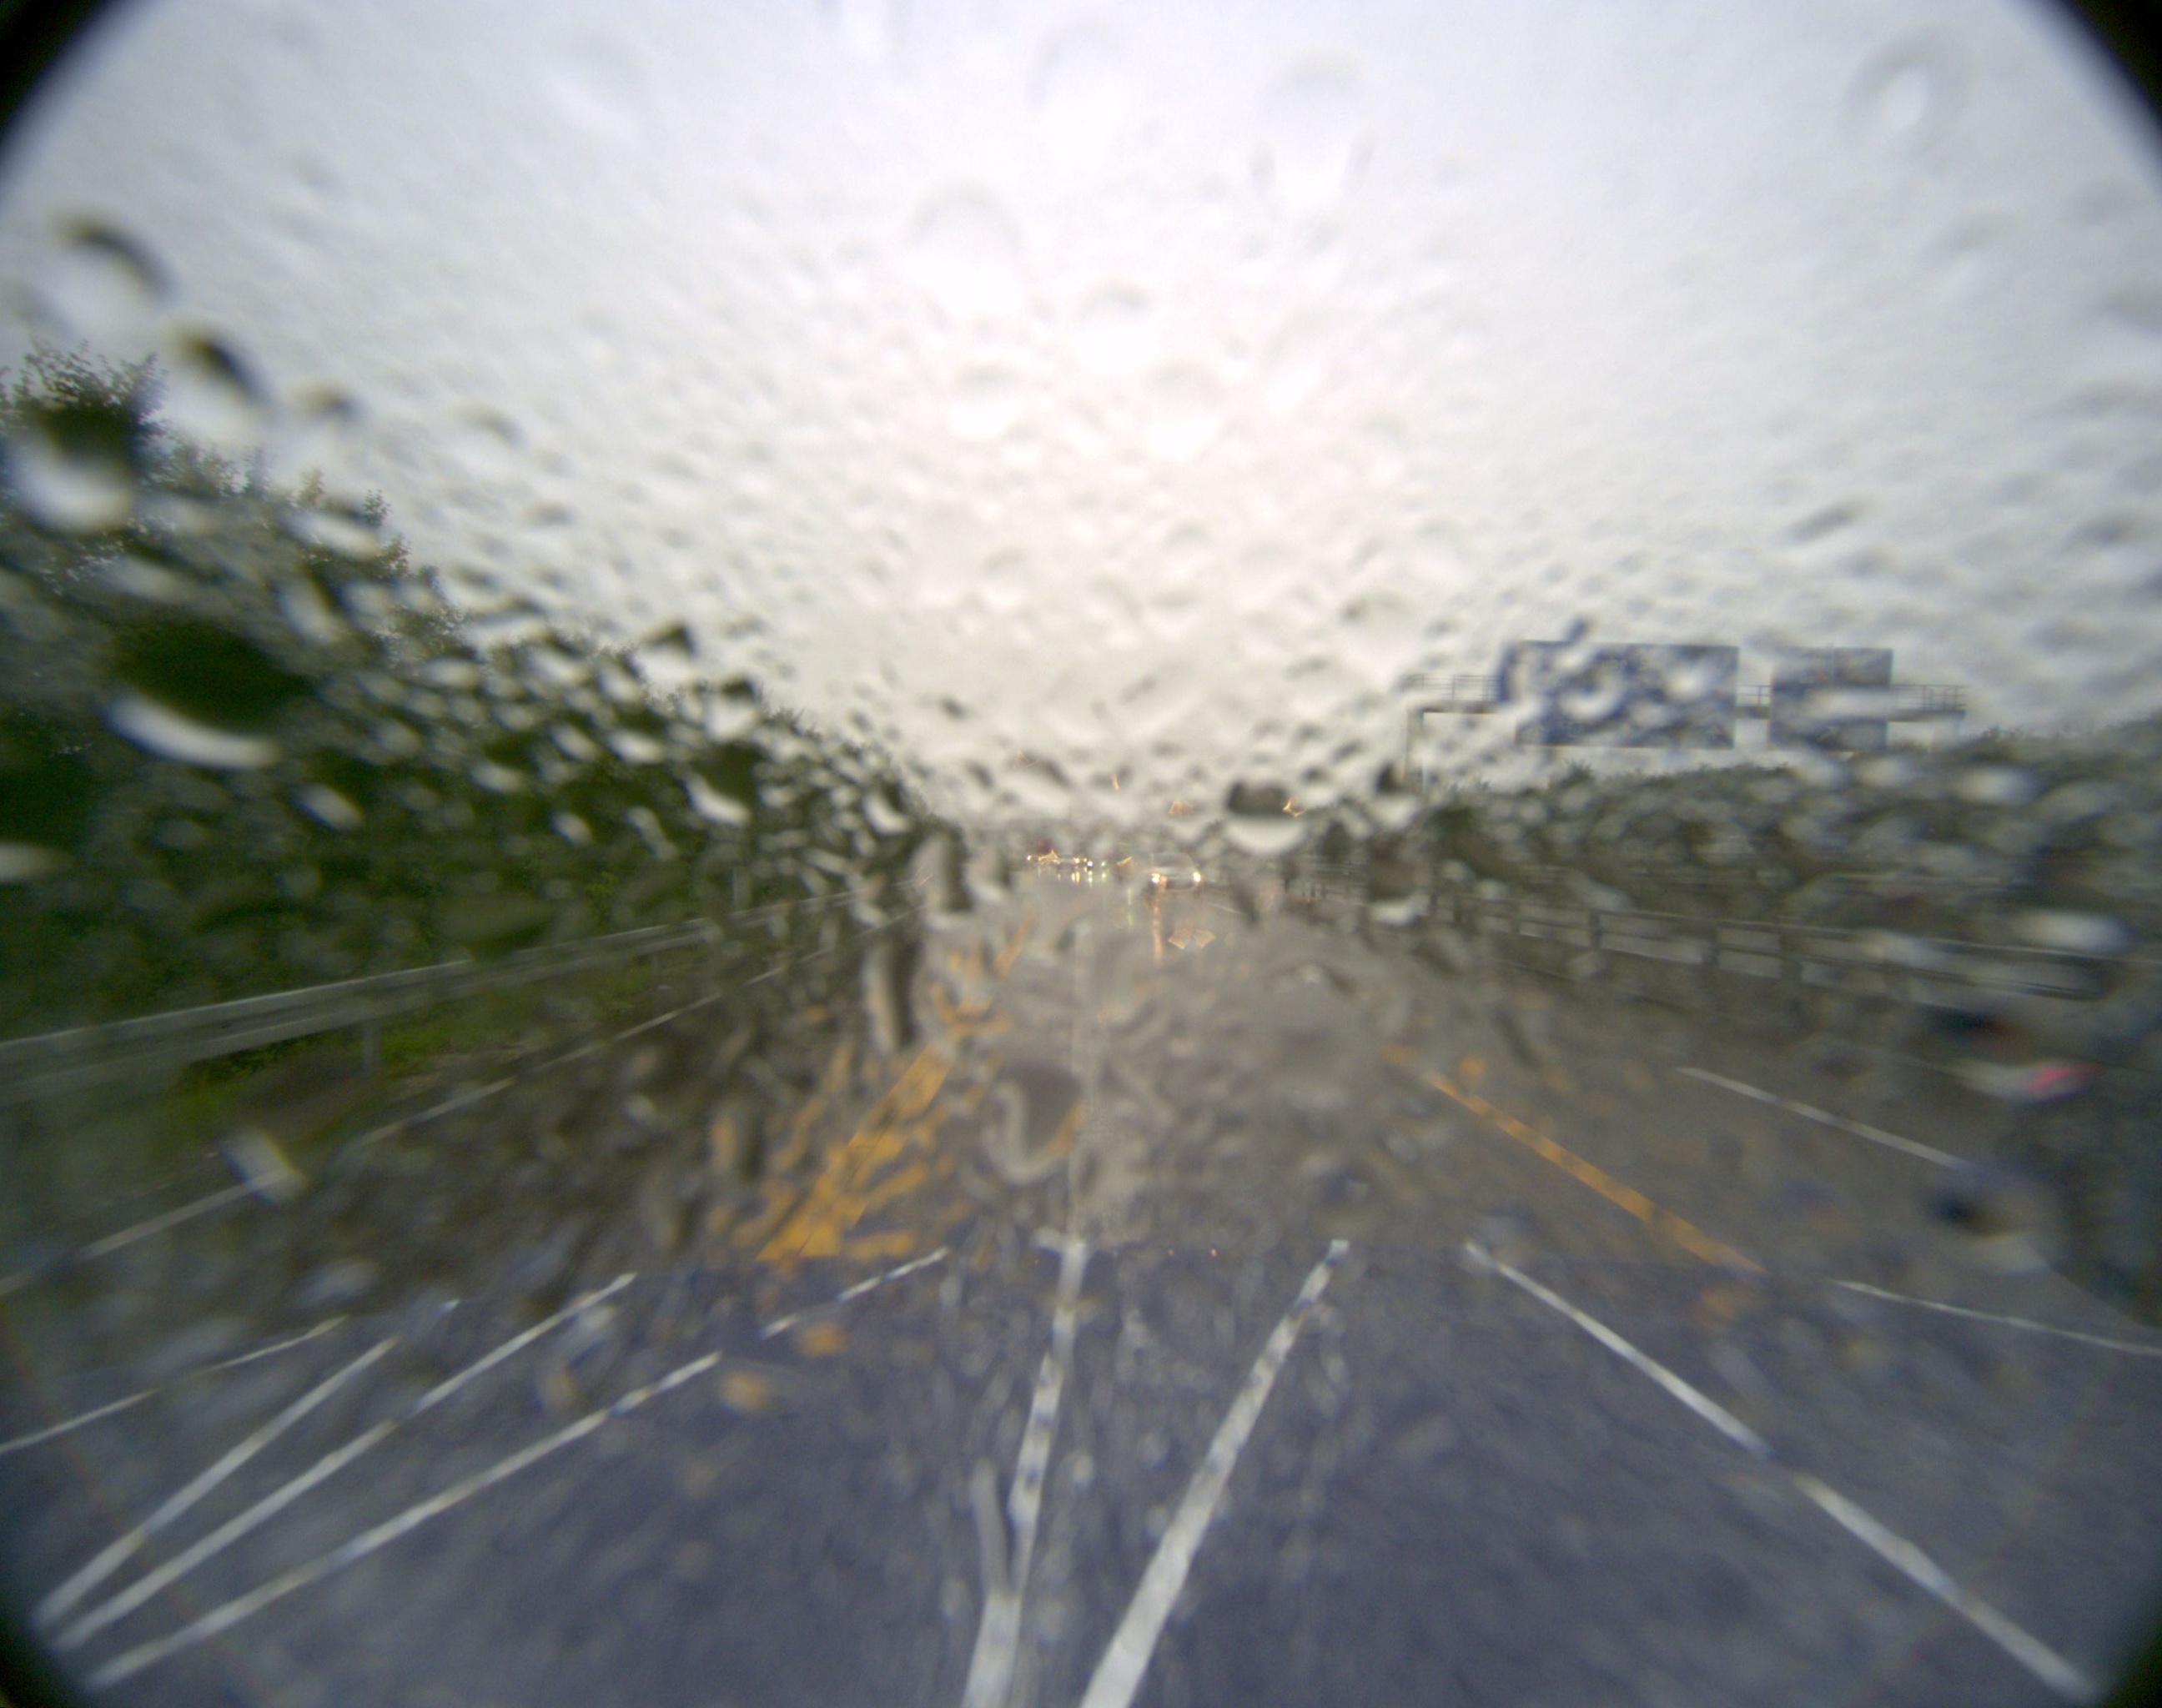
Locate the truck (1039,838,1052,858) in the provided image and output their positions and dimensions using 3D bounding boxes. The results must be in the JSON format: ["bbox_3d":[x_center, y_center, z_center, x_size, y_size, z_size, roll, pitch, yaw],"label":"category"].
[{"bbox_3d":[-7.574,-1.173,161.894,2.484,4.061,8.701,-2,1,-3],"label":"truck"}]

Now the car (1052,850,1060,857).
[{"bbox_3d":[-6.113,-0.083,187.436,1.752,1.579,3.998,-2,1,-3],"label":"car"}]

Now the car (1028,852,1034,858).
[{"bbox_3d":[-15.527,0.335,235.849,1.752,1.579,3.998,-2,1,-3],"label":"car"}]

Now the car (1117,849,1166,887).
[{"bbox_3d":[3.452,0.757,44.402,2.212,2.002,5.562,-2,1,-2],"label":"car"}]

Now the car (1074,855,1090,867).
[{"bbox_3d":[0.119,0.991,110.432,1.846,1.586,3.998,-2,1,-6],"label":"car"}]

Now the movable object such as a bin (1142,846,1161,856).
[{"bbox_3d":[17.168,-0.665,184.751,3.449,2.281,5.096,-2,1,-9],"label":"movable object such as a bin"}]

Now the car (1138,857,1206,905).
[{"bbox_3d":[3.273,0.955,28.054,1.978,1.586,4.310,-1,-1,0],"label":"car"}]

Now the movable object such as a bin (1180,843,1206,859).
[{"bbox_3d":[21.135,-0.635,143.541,3.775,2.782,6.328,-2,1,-2],"label":"movable object such as a bin"}]

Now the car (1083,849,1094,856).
[{"bbox_3d":[1.635,-0.274,172.185,1.853,1.494,4.126,-2,1,-8],"label":"car"}]

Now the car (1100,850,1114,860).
[{"bbox_3d":[4.671,0.161,136.442,1.876,1.579,4.217,-2,1,-6],"label":"car"}]

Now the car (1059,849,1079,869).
[{"bbox_3d":[-1.251,0.529,80.196,1.882,2.002,3.998,-2,1,-3],"label":"car"}]

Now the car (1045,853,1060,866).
[{"bbox_3d":[-3.928,0.731,104.144,1.882,1.656,3.997,-1,0,-6],"label":"car"}]

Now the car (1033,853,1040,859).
[{"bbox_3d":[-12.149,0.601,207.650,1.752,1.579,3.998,-2,1,-3],"label":"car"}]

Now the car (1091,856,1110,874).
[{"bbox_3d":[2.038,1.127,80.611,1.695,1.740,3.998,-2,1,-3],"label":"car"}]
